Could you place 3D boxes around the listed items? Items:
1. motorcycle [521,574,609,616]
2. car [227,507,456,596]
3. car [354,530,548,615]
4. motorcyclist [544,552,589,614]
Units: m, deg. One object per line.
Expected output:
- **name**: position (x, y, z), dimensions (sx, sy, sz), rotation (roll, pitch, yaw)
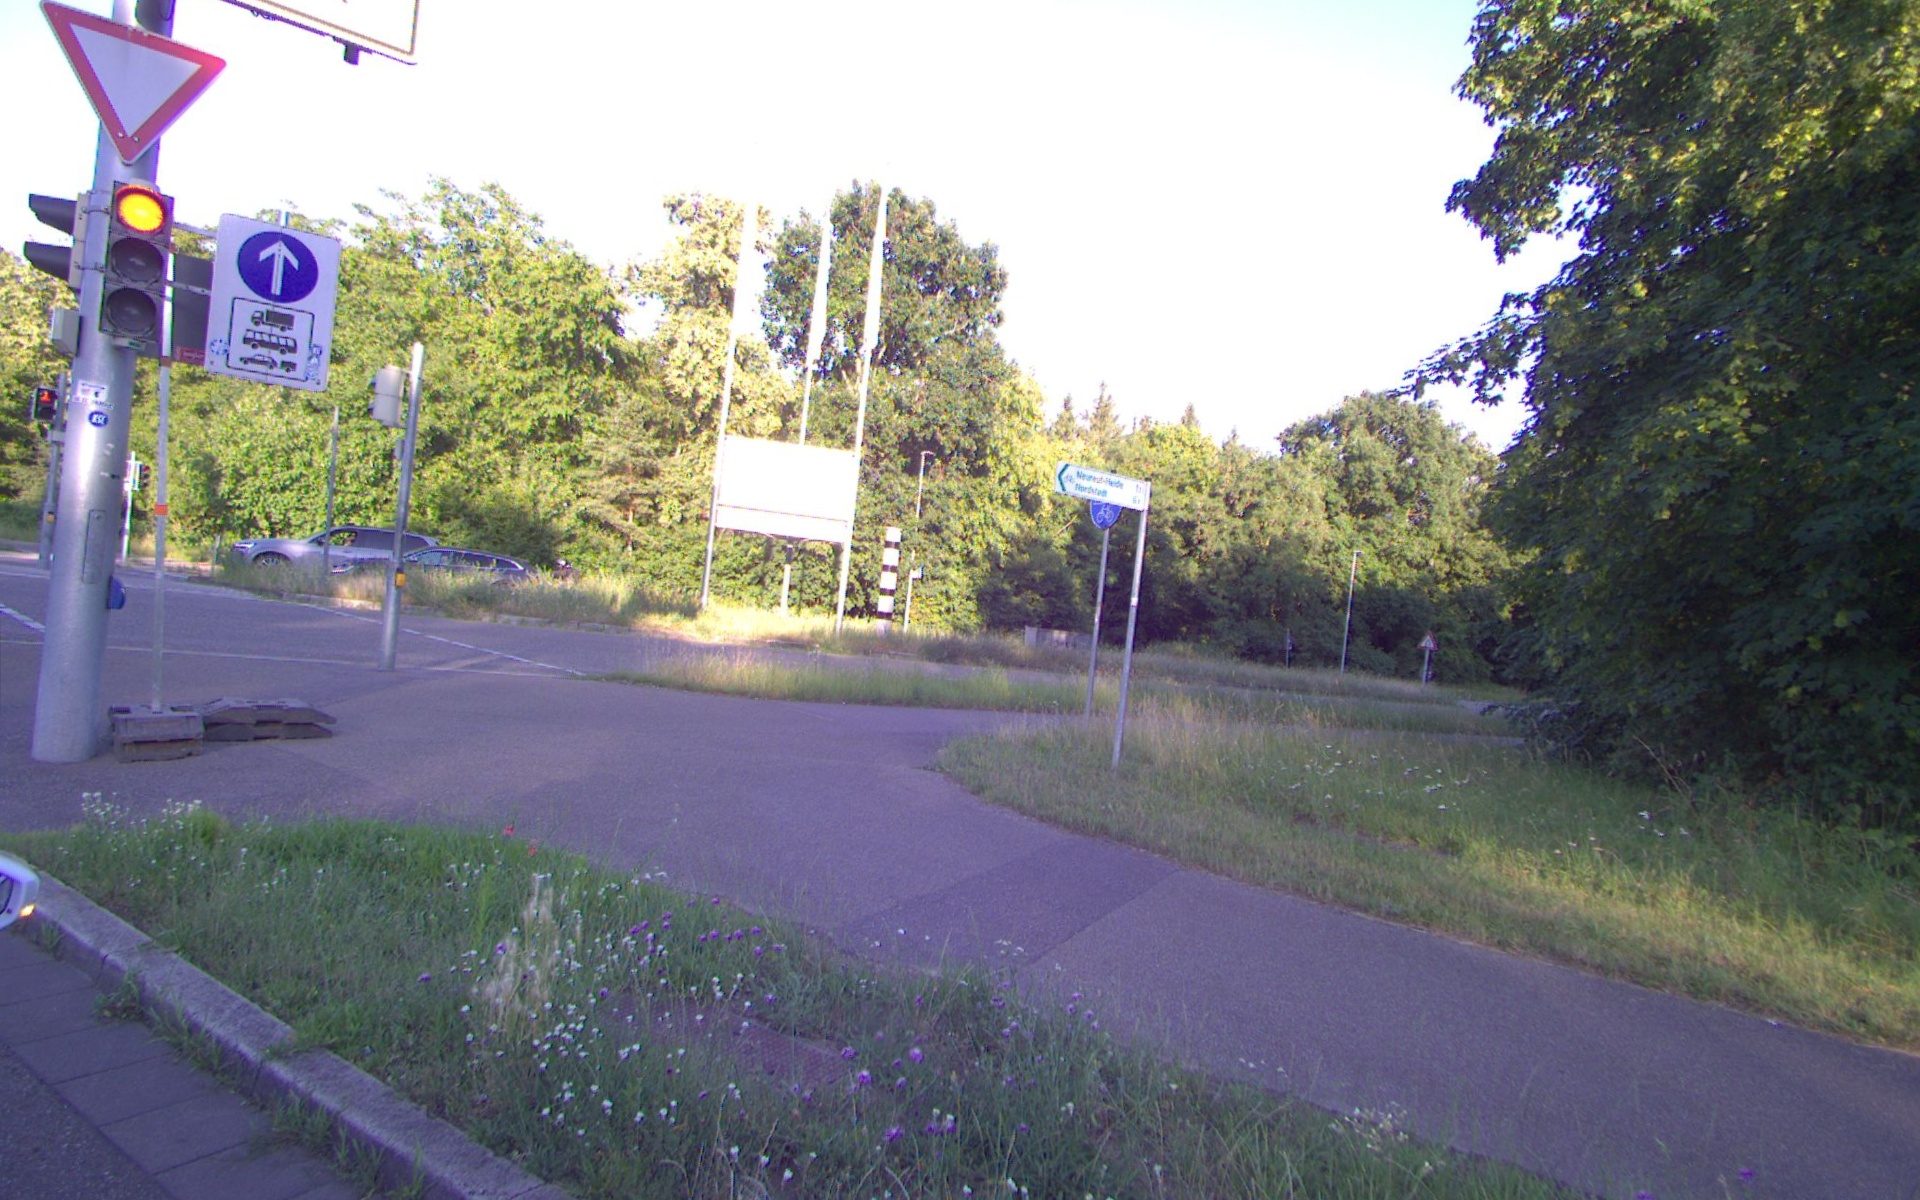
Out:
- **motorcycle**: position (-11.095, -0.143, 28.280), dimensions (2.133, 0.921, 0.655), rotation (7, 0, -37)
- **car**: position (-15.915, -1.207, 26.004), dimensions (4.790, 1.618, 1.980), rotation (7, 0, -37)
- **car**: position (-12.232, -0.642, 24.251), dimensions (3.840, 1.507, 1.754), rotation (8, -1, -36)
- **motorcyclist**: position (-11.060, -0.485, 28.265), dimensions (0.881, 1.614, 0.648), rotation (6, 0, -37)
